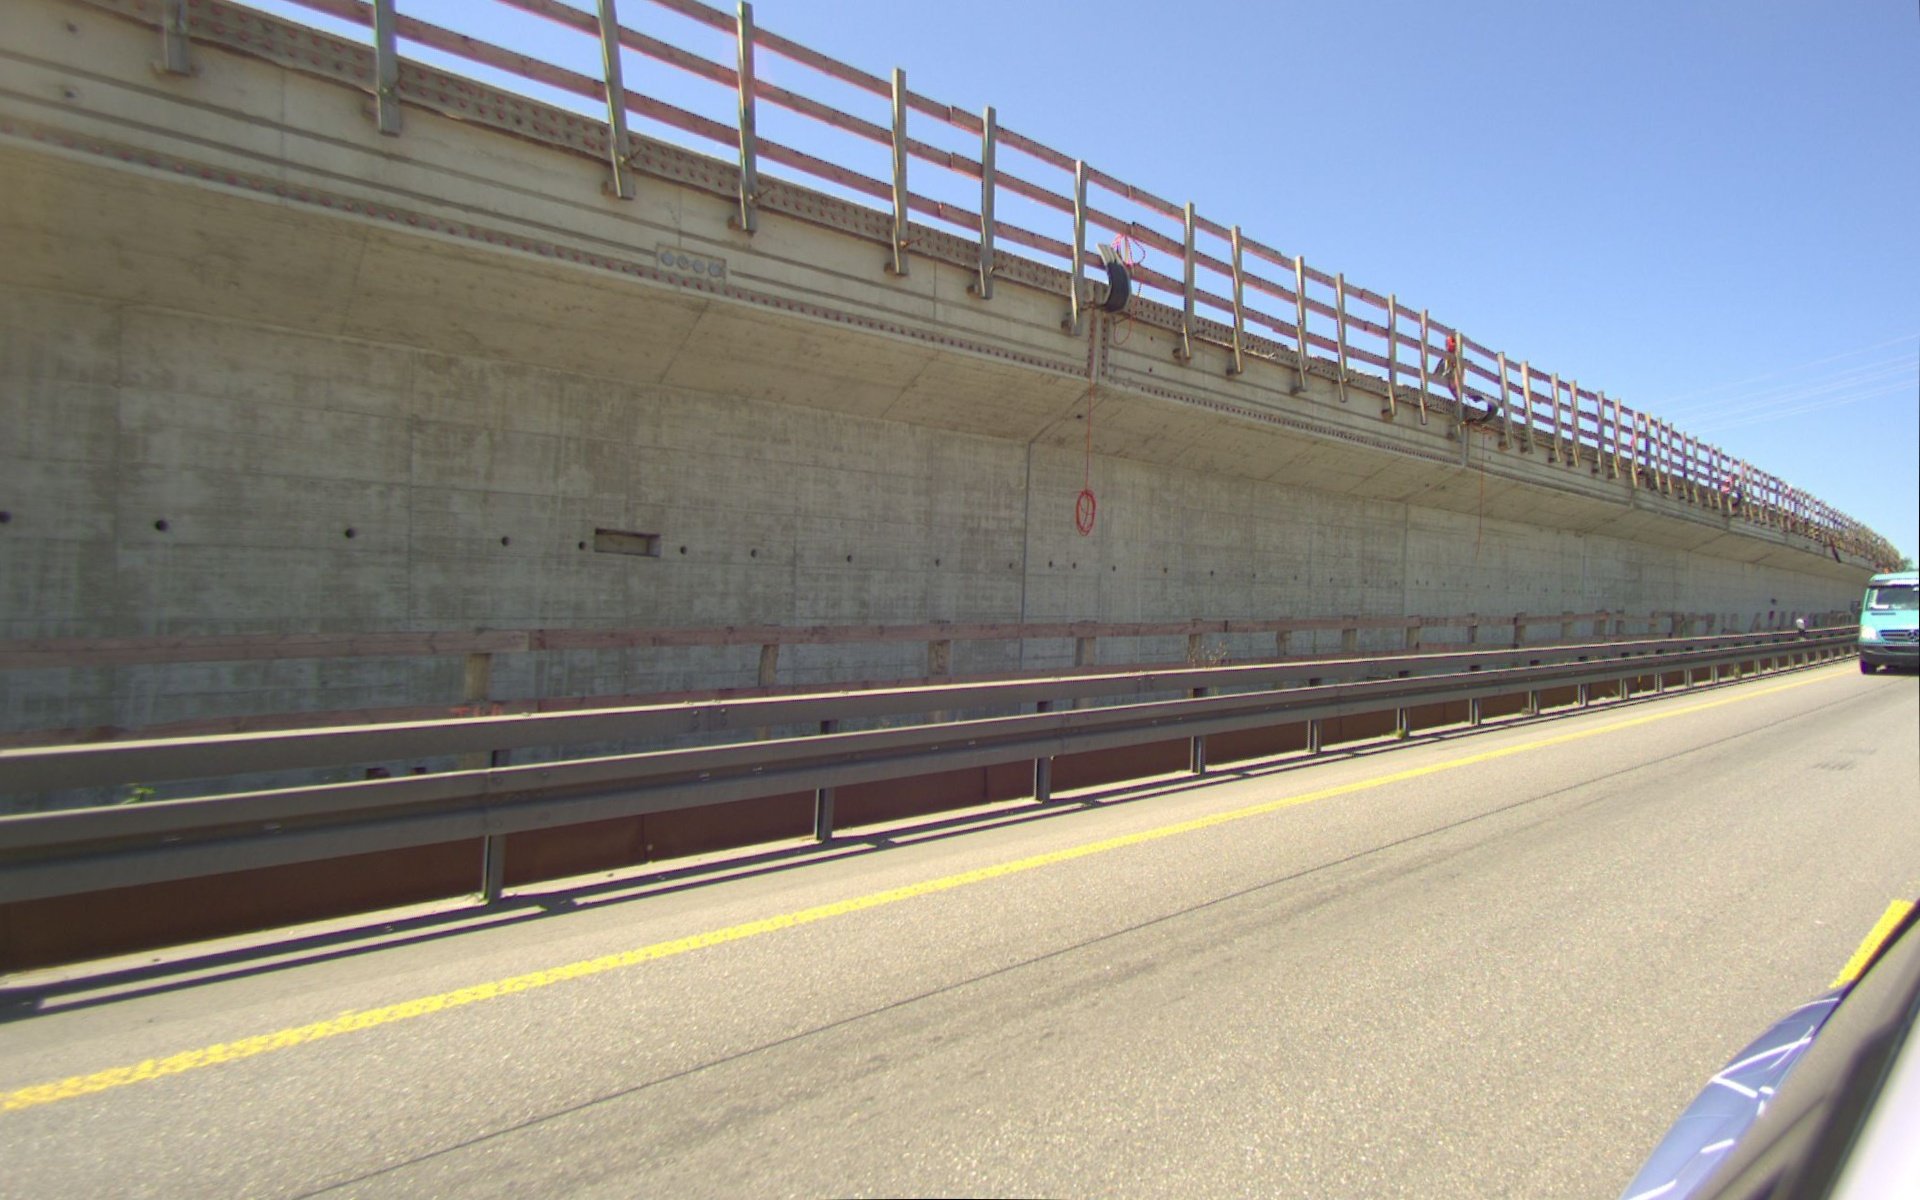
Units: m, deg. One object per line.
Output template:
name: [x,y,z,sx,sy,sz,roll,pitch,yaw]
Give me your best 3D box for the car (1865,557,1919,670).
car: [23.243,0.275,23.759,7.083,2.411,1.967,0,-1,-40]
